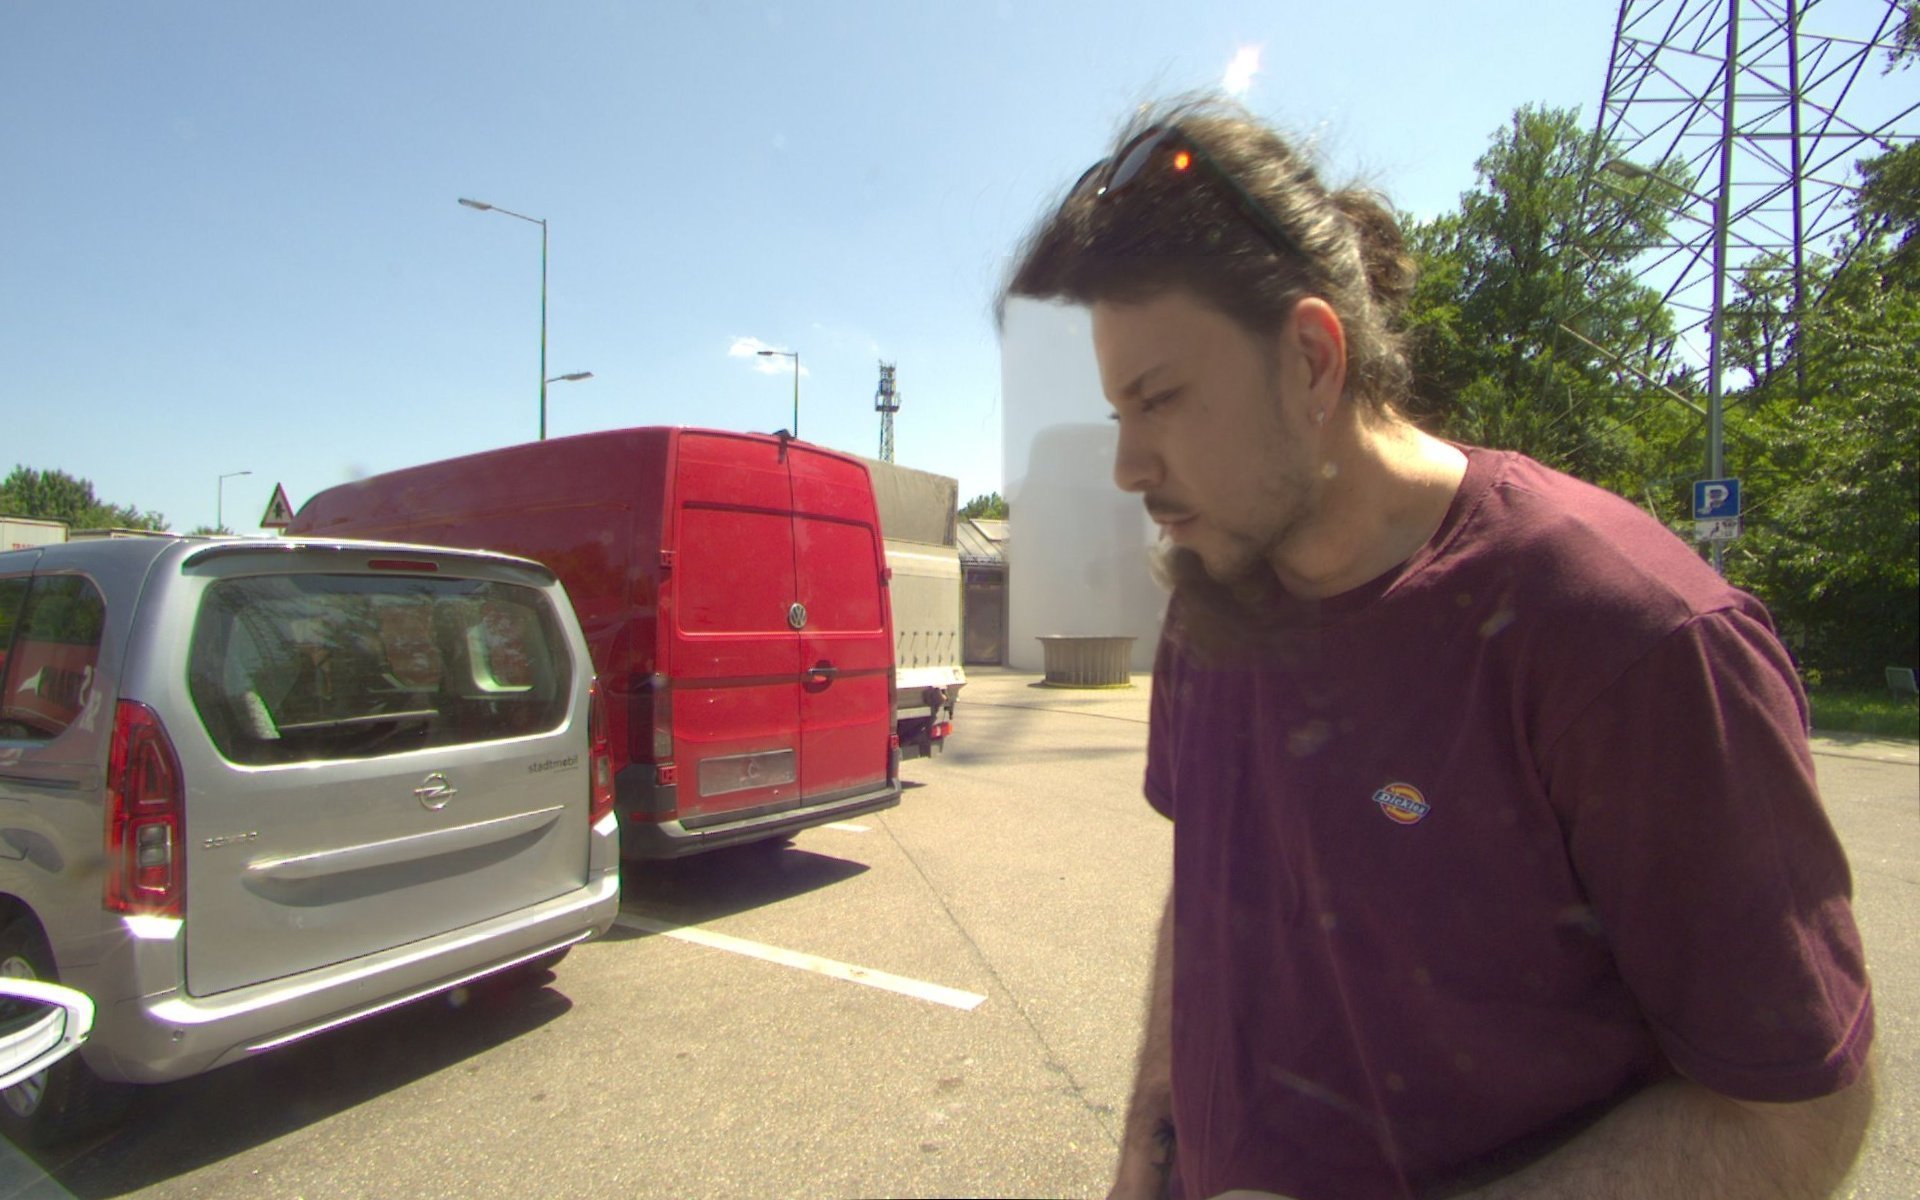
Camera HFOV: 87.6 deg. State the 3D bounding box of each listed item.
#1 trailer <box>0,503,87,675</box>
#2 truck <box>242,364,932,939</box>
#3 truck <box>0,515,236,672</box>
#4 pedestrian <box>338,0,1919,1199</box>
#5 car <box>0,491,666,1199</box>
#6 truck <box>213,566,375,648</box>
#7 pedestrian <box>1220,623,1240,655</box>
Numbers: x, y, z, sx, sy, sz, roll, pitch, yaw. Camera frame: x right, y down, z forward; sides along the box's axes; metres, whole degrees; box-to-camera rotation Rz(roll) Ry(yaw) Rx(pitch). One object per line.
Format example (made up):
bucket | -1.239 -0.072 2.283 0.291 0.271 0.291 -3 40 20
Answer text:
trailer | -28.806 -0.286 28.030 13.374 4.178 2.871 0 -1 33
truck | -2.870 0.262 6.999 5.233 2.658 1.987 0 -1 37
truck | -28.000 -0.126 31.783 14.316 4.175 2.901 0 -3 33
pedestrian | 0.223 0.496 0.750 0.926 1.798 0.827 1 -1 28
car | -3.356 0.637 4.214 3.938 1.776 1.824 0 -1 29
truck | -30.720 0.326 46.071 8.407 3.482 3.019 0 -1 33
pedestrian | 11.795 1.697 43.809 0.579 1.402 0.754 1 0 -8
